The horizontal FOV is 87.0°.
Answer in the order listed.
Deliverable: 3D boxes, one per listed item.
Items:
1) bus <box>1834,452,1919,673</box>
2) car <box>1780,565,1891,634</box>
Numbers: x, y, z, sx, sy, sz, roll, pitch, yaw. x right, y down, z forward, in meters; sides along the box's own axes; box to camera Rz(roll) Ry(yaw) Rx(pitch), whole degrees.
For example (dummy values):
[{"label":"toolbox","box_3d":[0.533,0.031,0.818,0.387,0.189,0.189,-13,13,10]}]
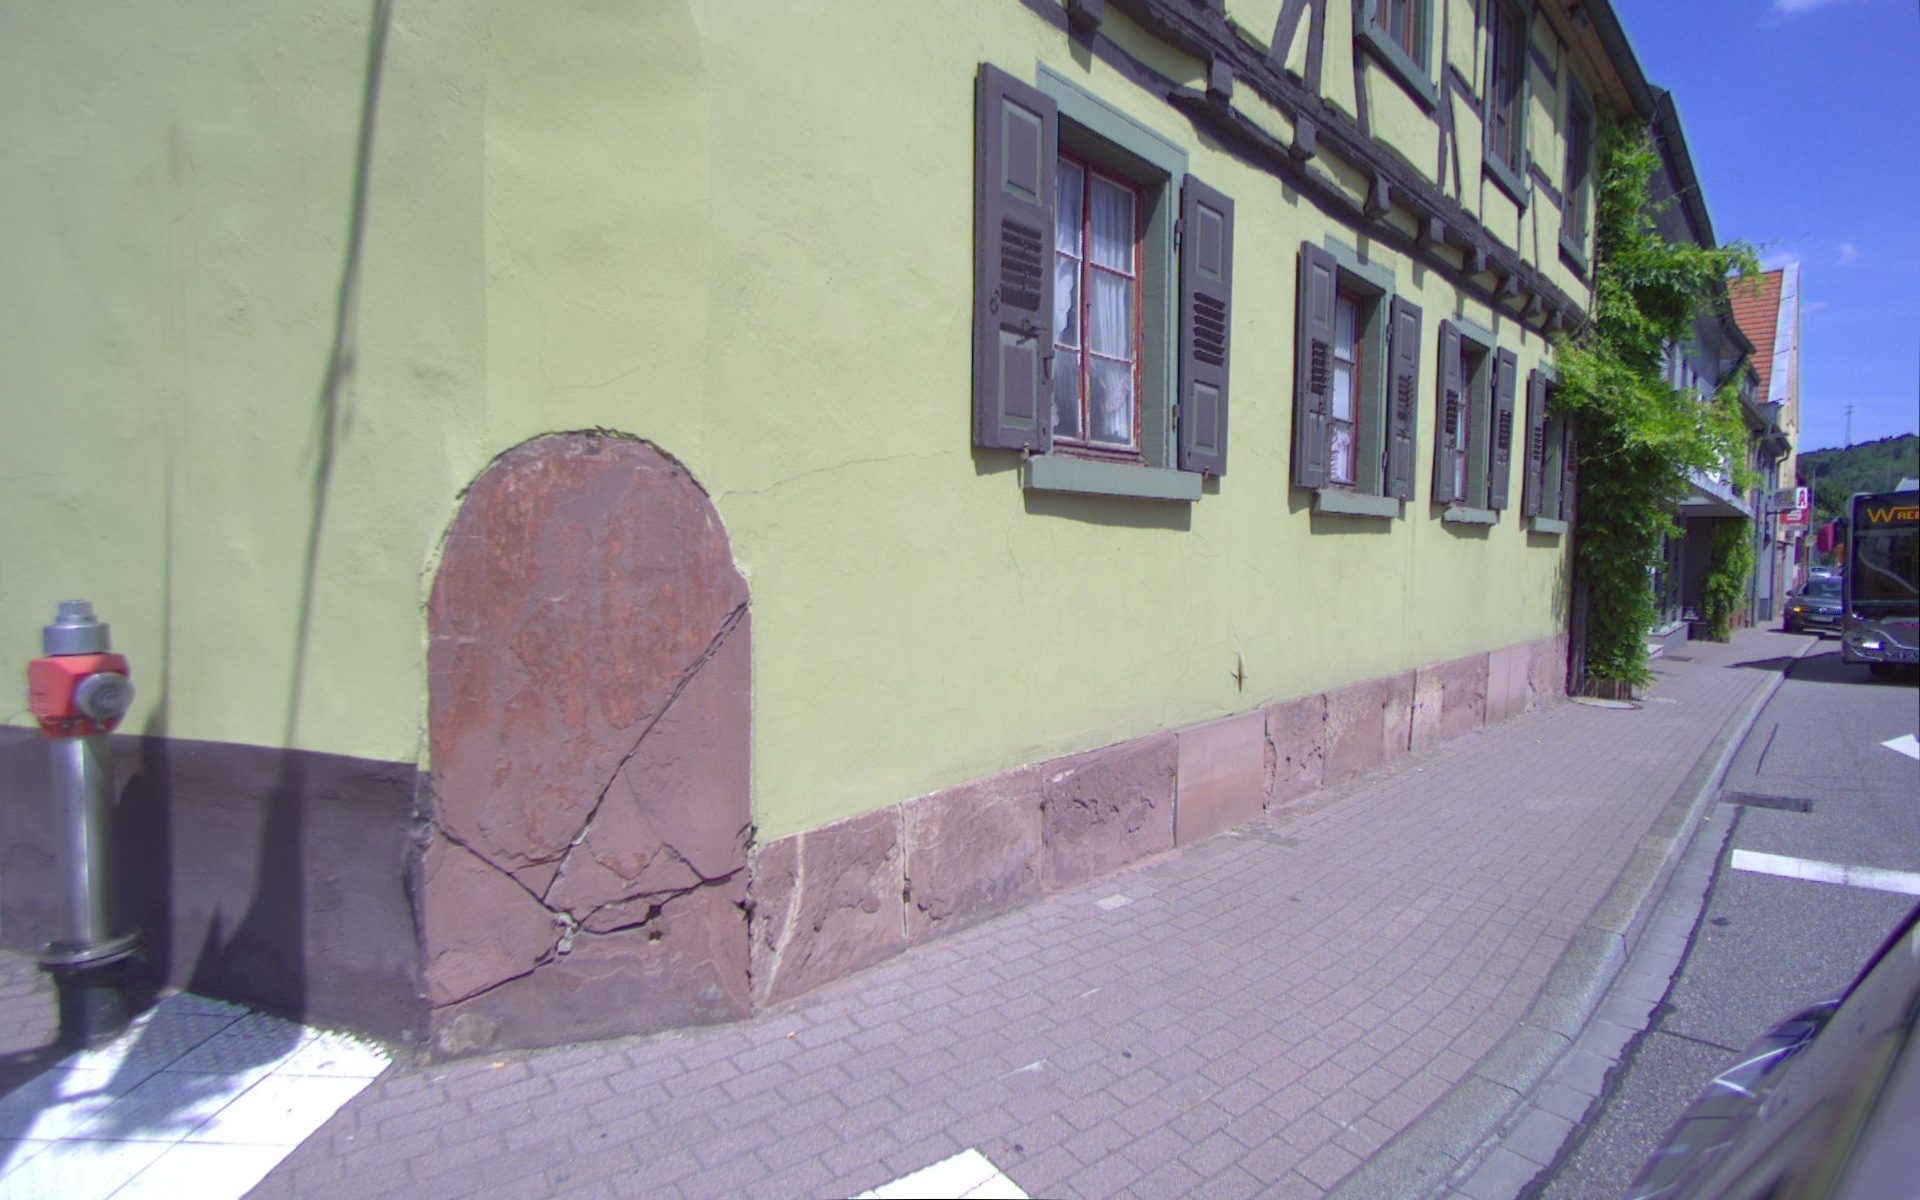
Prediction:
[{"label":"bus","box_3d":[21.482,-0.589,20.598,18.698,3.244,2.857,0,2,-41]},{"label":"car","box_3d":[25.442,-0.082,29.378,4.034,1.729,1.996,-2,6,-44]}]
